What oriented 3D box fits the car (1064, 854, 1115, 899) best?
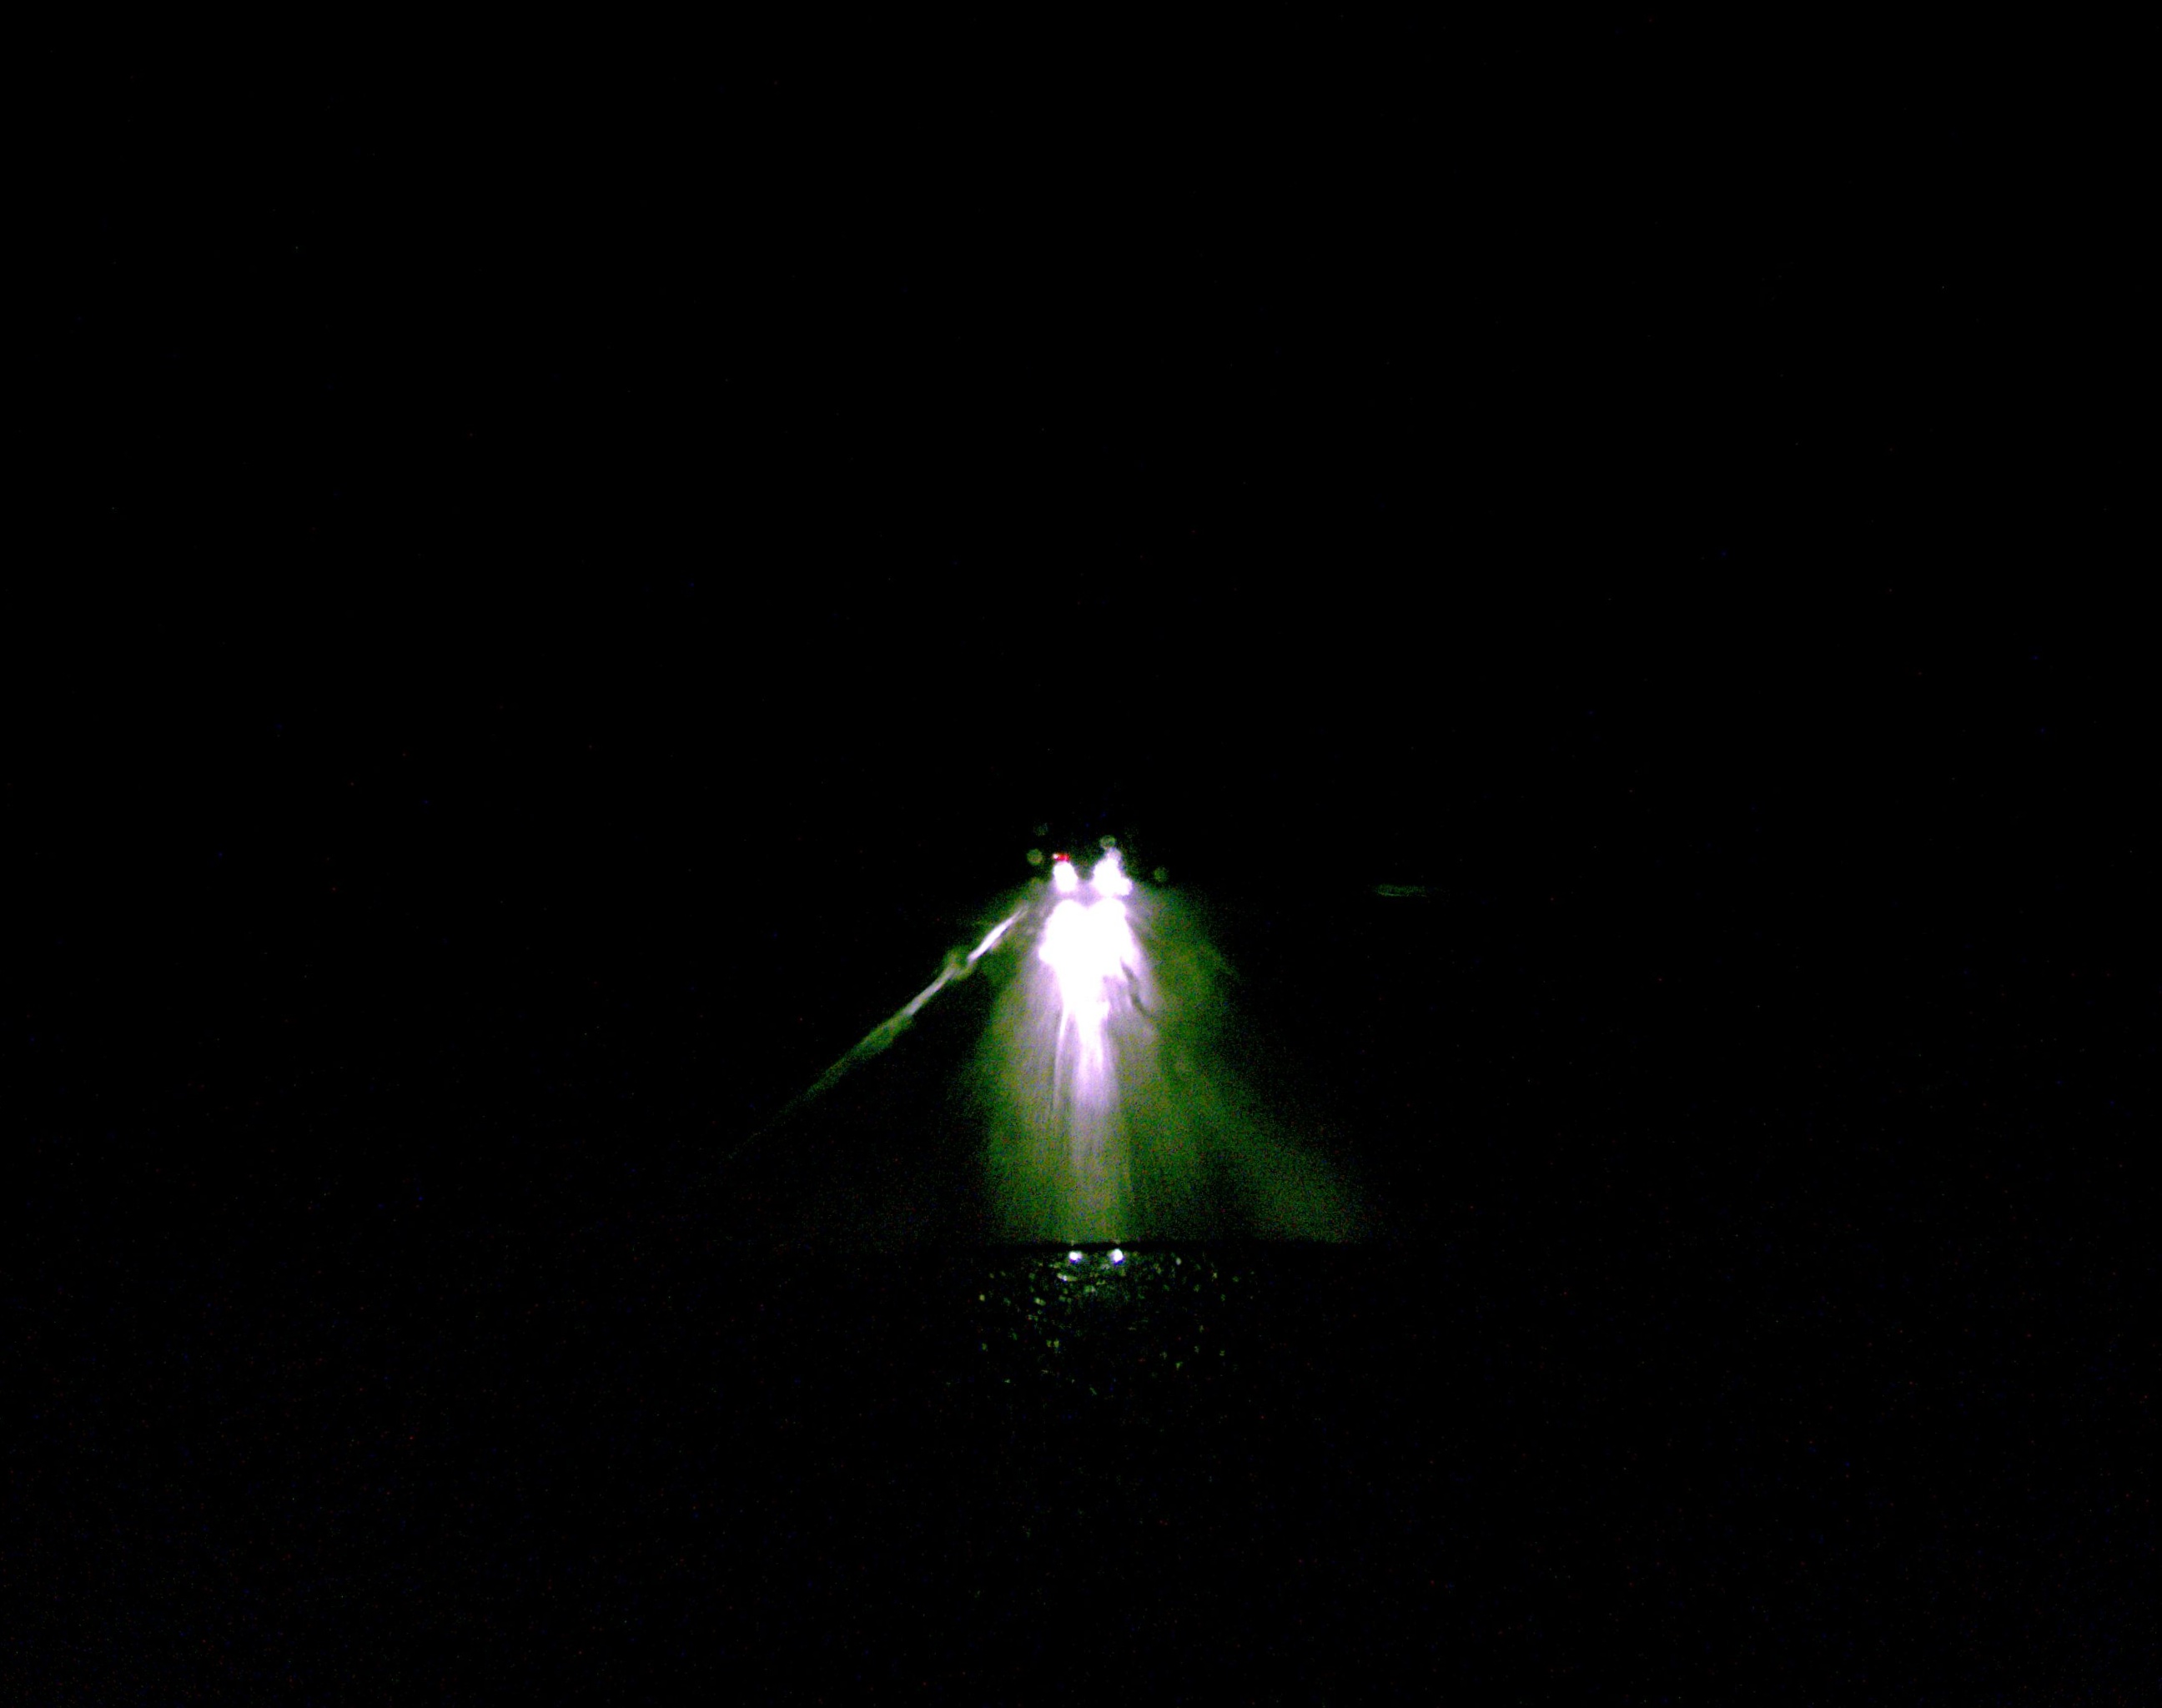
[{"bbox_3d":[0.274,0.830,30.563,1.863,1.601,4.419,-2,0,-1],"label":"car"}]
